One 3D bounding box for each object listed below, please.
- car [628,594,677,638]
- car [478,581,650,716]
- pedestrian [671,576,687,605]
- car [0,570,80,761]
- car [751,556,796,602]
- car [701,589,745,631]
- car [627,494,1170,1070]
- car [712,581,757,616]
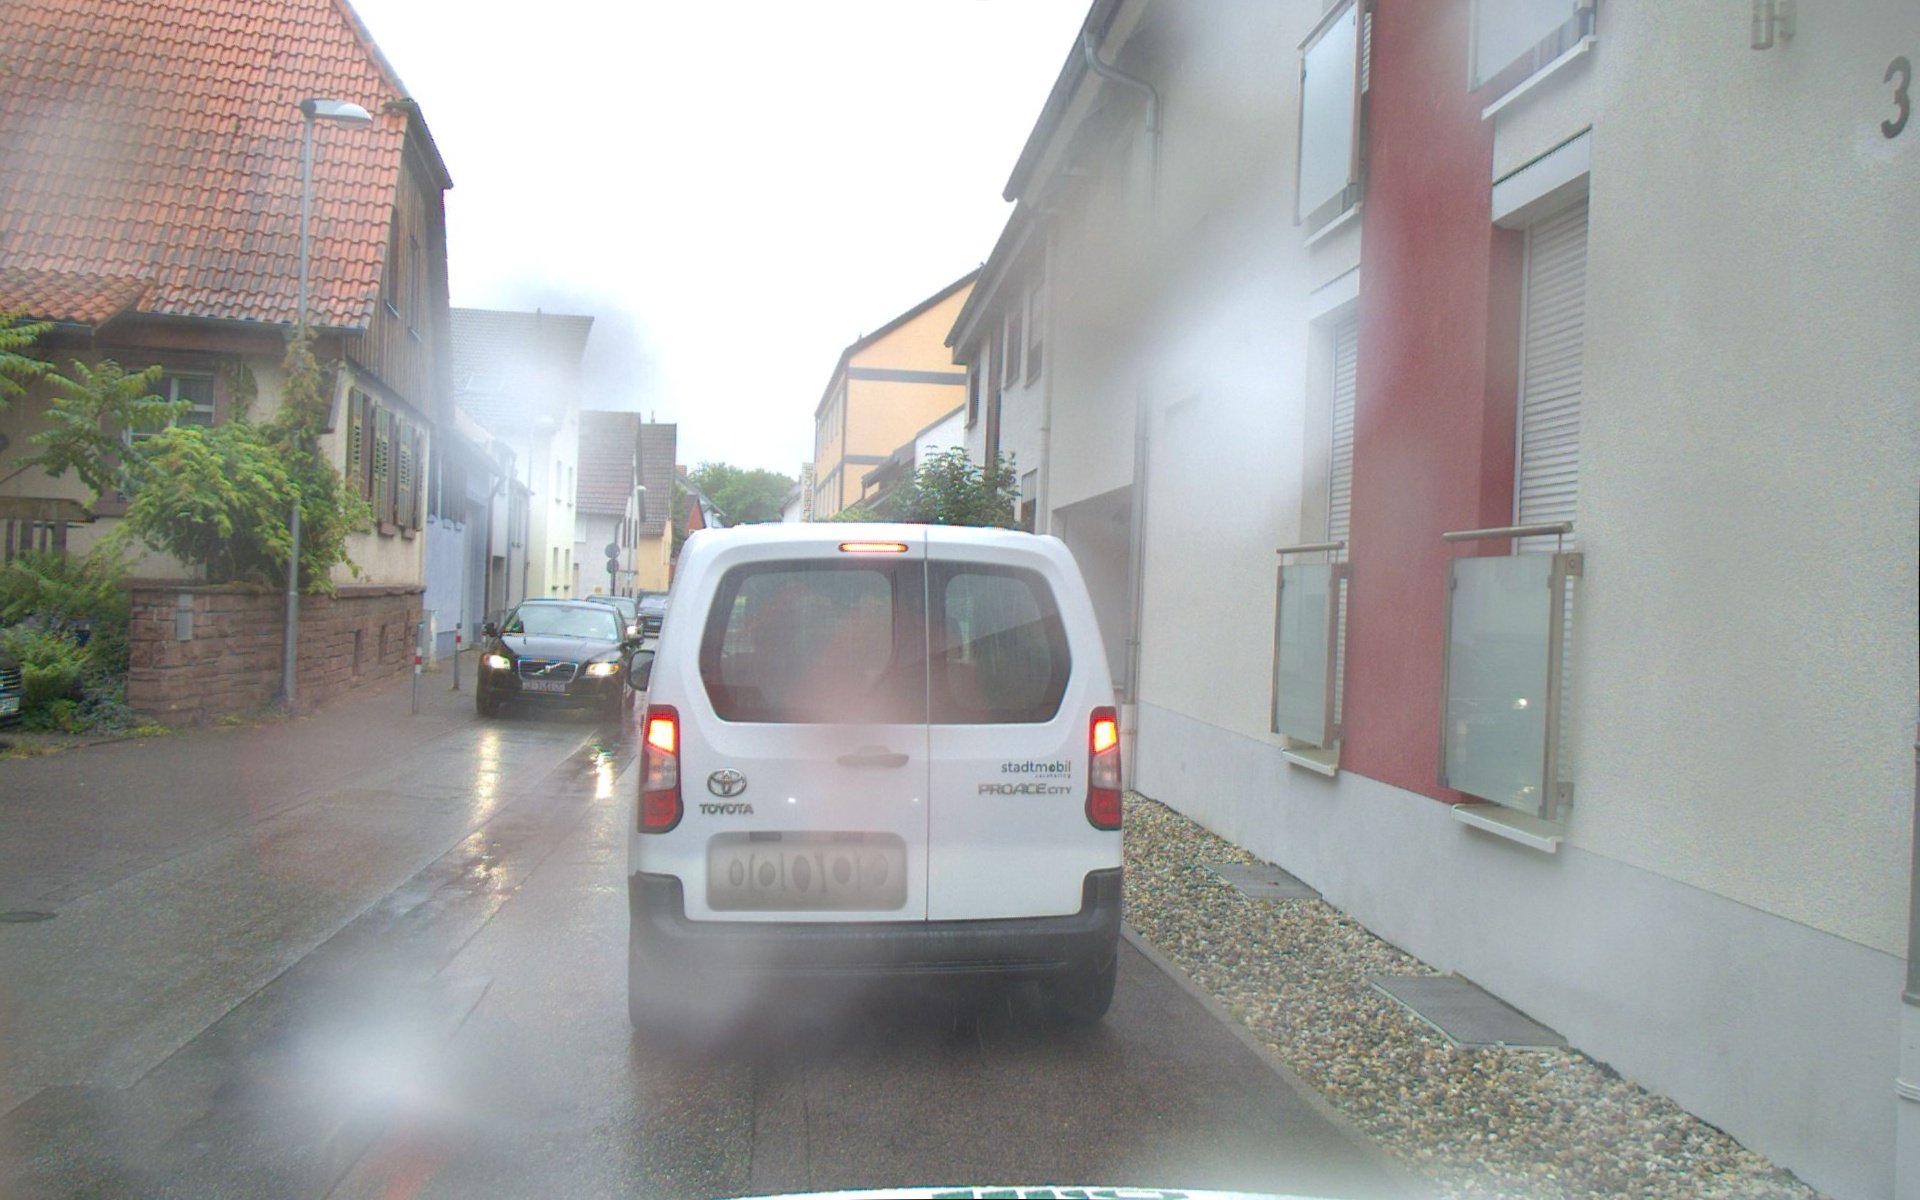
[{"bbox_3d":[-12.082,0.604,65.116,1.799,1.583,4.229,2,0,-10],"label":"car"},{"bbox_3d":[-5.073,0.579,21.694,1.664,1.535,4.334,2,0,-7],"label":"car"},{"bbox_3d":[-18.713,-0.625,110.273,1.031,1.926,0.875,1,-1,-9],"label":"pedestrian"},{"bbox_3d":[-9.391,0.306,12.951,3.908,1.450,1.735,7,-1,-1],"label":"car"},{"bbox_3d":[-8.573,-0.930,76.258,1.955,2.049,3.995,1,0,-6],"label":"car"},{"bbox_3d":[-9.039,0.370,62.877,1.532,1.503,3.990,1,0,-10],"label":"car"},{"bbox_3d":[-0.484,0.590,7.322,1.742,1.811,3.991,1,0,-9],"label":"car"},{"bbox_3d":[-9.632,-0.051,70.496,1.747,1.419,3.990,1,0,-10],"label":"car"}]
